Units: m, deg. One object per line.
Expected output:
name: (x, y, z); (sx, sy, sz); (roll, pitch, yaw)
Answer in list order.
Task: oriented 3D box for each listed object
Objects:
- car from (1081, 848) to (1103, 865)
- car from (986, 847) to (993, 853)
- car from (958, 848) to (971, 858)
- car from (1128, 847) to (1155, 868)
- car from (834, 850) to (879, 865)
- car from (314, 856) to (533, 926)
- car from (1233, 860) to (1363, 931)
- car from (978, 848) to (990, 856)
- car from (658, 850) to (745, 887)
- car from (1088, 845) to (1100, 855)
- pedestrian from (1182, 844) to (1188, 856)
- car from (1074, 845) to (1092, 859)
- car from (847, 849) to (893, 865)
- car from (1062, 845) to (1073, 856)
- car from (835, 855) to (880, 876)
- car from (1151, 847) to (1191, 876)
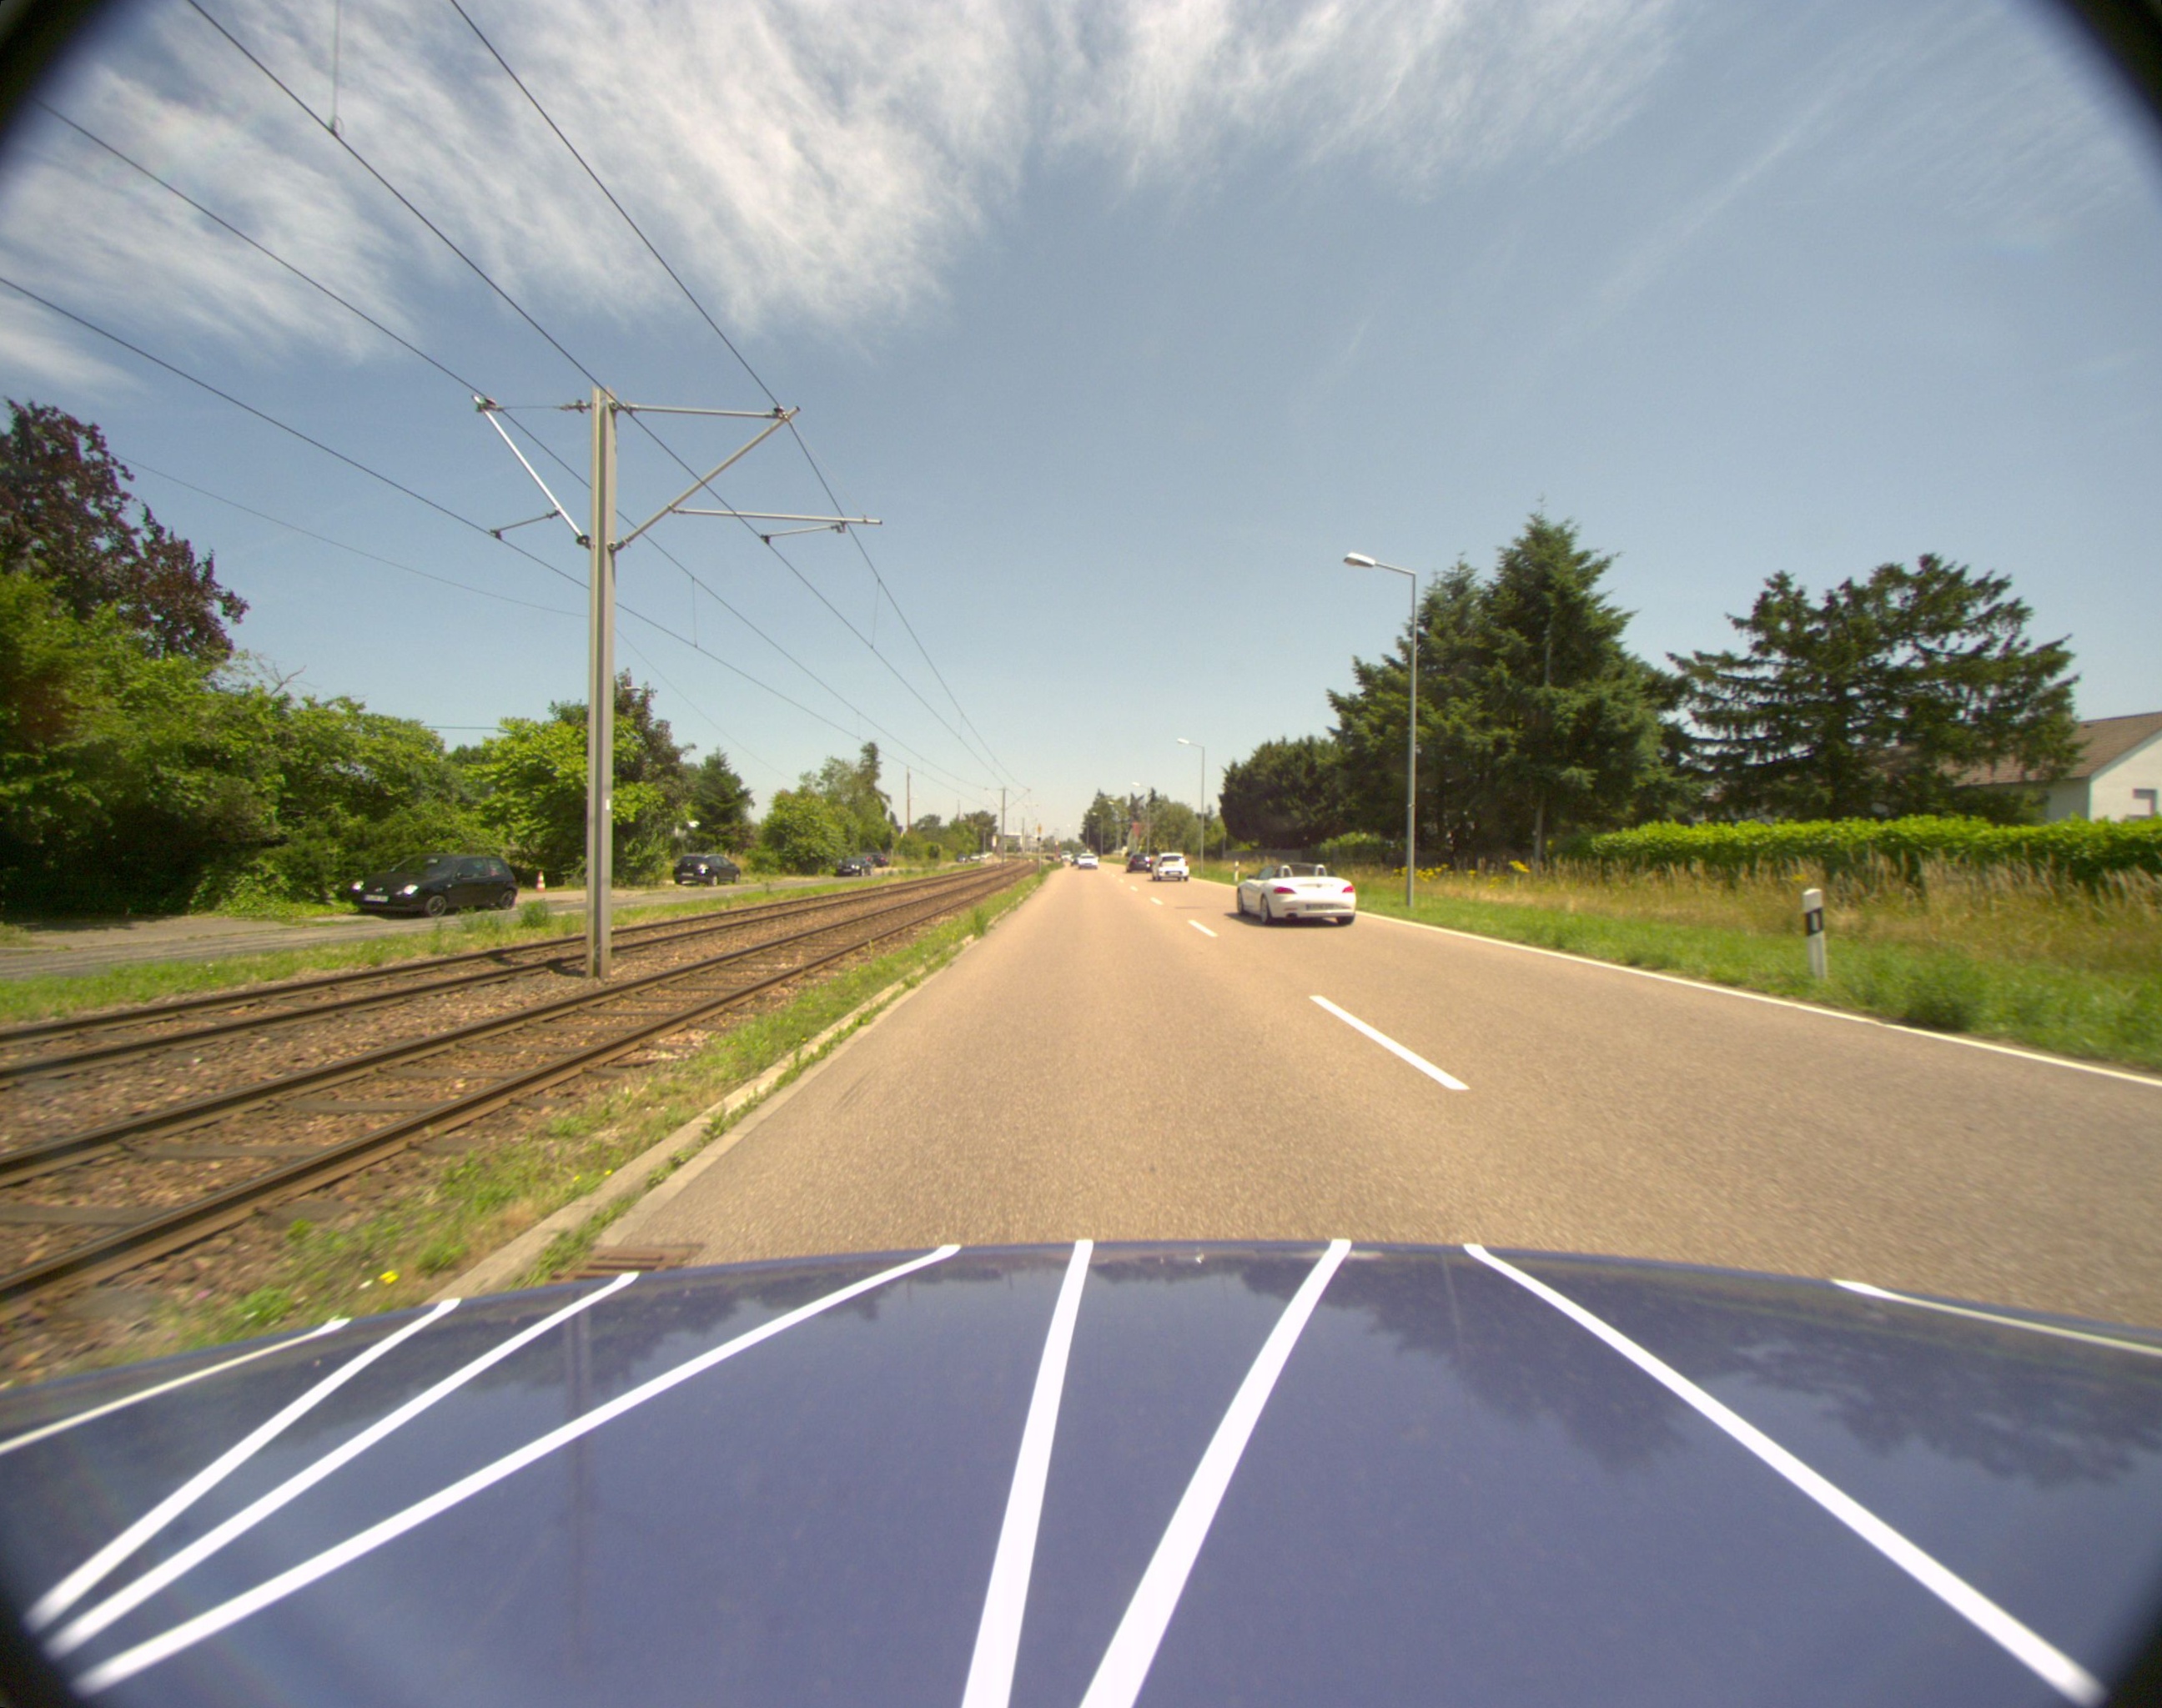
car: (0.987, 0.194, 70.485); (1.856, 1.447, 3.705); (0, 1, -1)
car: (-23.515, -1.021, 195.738); (1.718, 1.480, 3.998); (-1, 1, -5)
car: (-18.621, -0.162, 121.534); (1.624, 1.414, 4.870); (0, 1, -3)
car: (4.533, 0.241, 57.700); (1.705, 1.483, 4.439); (0, 1, 0)
car: (-21.633, 0.334, 73.424); (3.737, 1.411, 1.898); (0, 1, 0)
car: (-16.090, 0.834, 18.922); (1.919, 1.462, 3.999); (0, 1, 0)
car: (4.474, 0.797, 16.244); (1.686, 1.242, 3.908); (0, 1, 1)
car: (-17.996, -0.382, 140.418); (1.945, 1.414, 3.998); (-1, 1, -4)
car: (-17.755, 0.626, 35.854); (1.940, 1.552, 4.554); (0, 1, -2)
car: (2.111, -0.654, 123.714); (1.751, 1.623, 4.028); (0, 1, -1)
pedestrian: (13.527, -0.533, 98.636); (0.610, 1.469, 0.633); (-1, 1, -2)
car: (0.250, -0.200, 88.895); (1.999, 1.576, 3.999); (0, 1, -1)
car: (-21.080, 0.316, 75.982); (3.995, 1.509, 1.899); (0, 1, 4)
car: (-2.504, -0.682, 138.870); (1.938, 2.002, 3.998); (0, 1, -3)
car: (-15.056, 0.744, 51.339); (1.866, 1.322, 4.513); (0, 1, -2)
car: (4.800, 0.367, 40.925); (1.751, 1.494, 3.706); (0, 1, 0)
